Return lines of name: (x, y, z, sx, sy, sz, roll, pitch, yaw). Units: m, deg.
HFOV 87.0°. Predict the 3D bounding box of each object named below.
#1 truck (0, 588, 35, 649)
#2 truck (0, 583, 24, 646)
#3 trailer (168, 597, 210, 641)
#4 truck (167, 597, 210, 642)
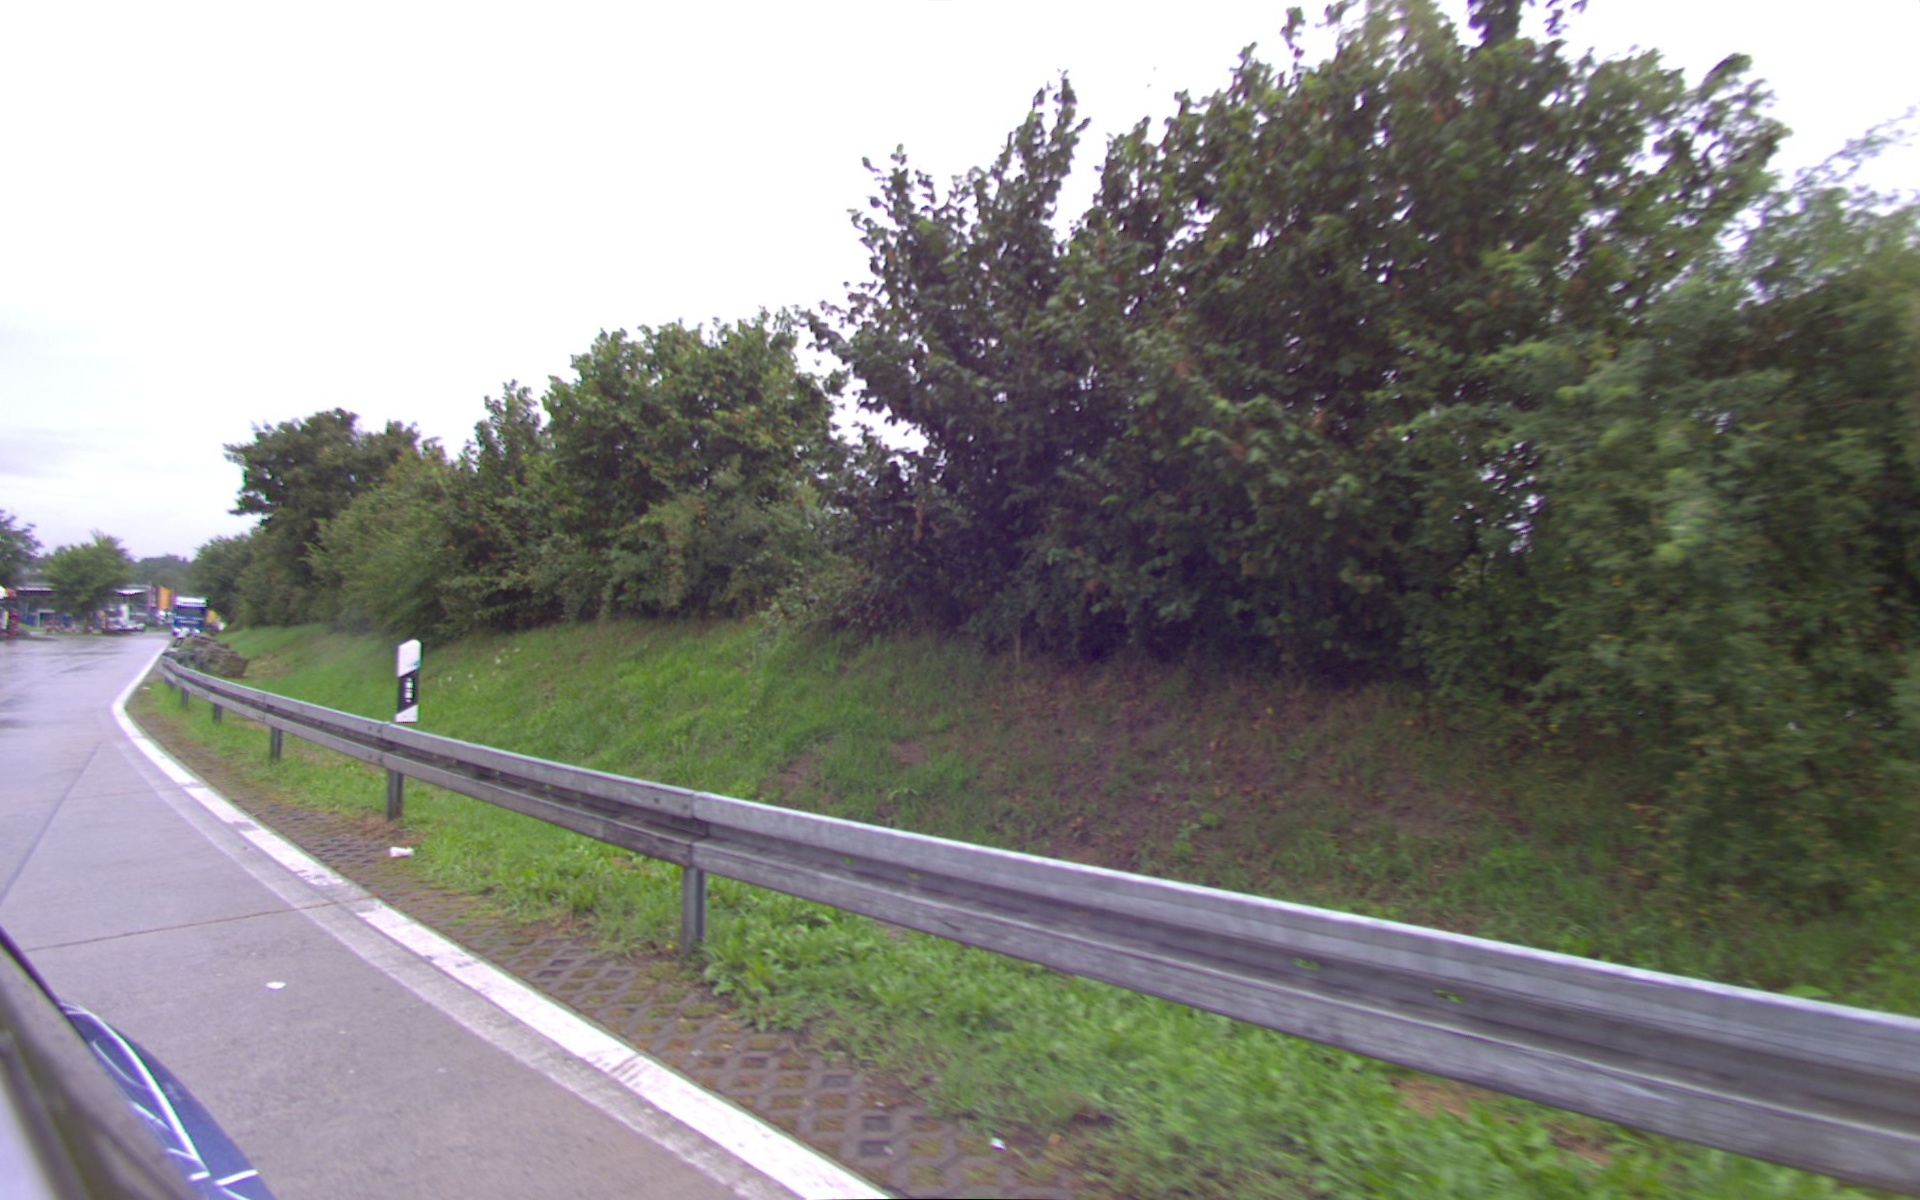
truck: (-72.211, 1.337, 75.223, 4.570, 4.420, 2.603, 1, -2, 5)
truck: (-69.509, 0.958, 70.423, 5.740, 4.420, 3.241, 1, -2, 5)
trailer: (-83.103, 2.133, 109.121, 3.193, 4.420, 13.795, 3, -3, -37)
truck: (-79.155, 2.077, 103.870, 3.193, 4.420, 6.327, 3, -3, -37)
